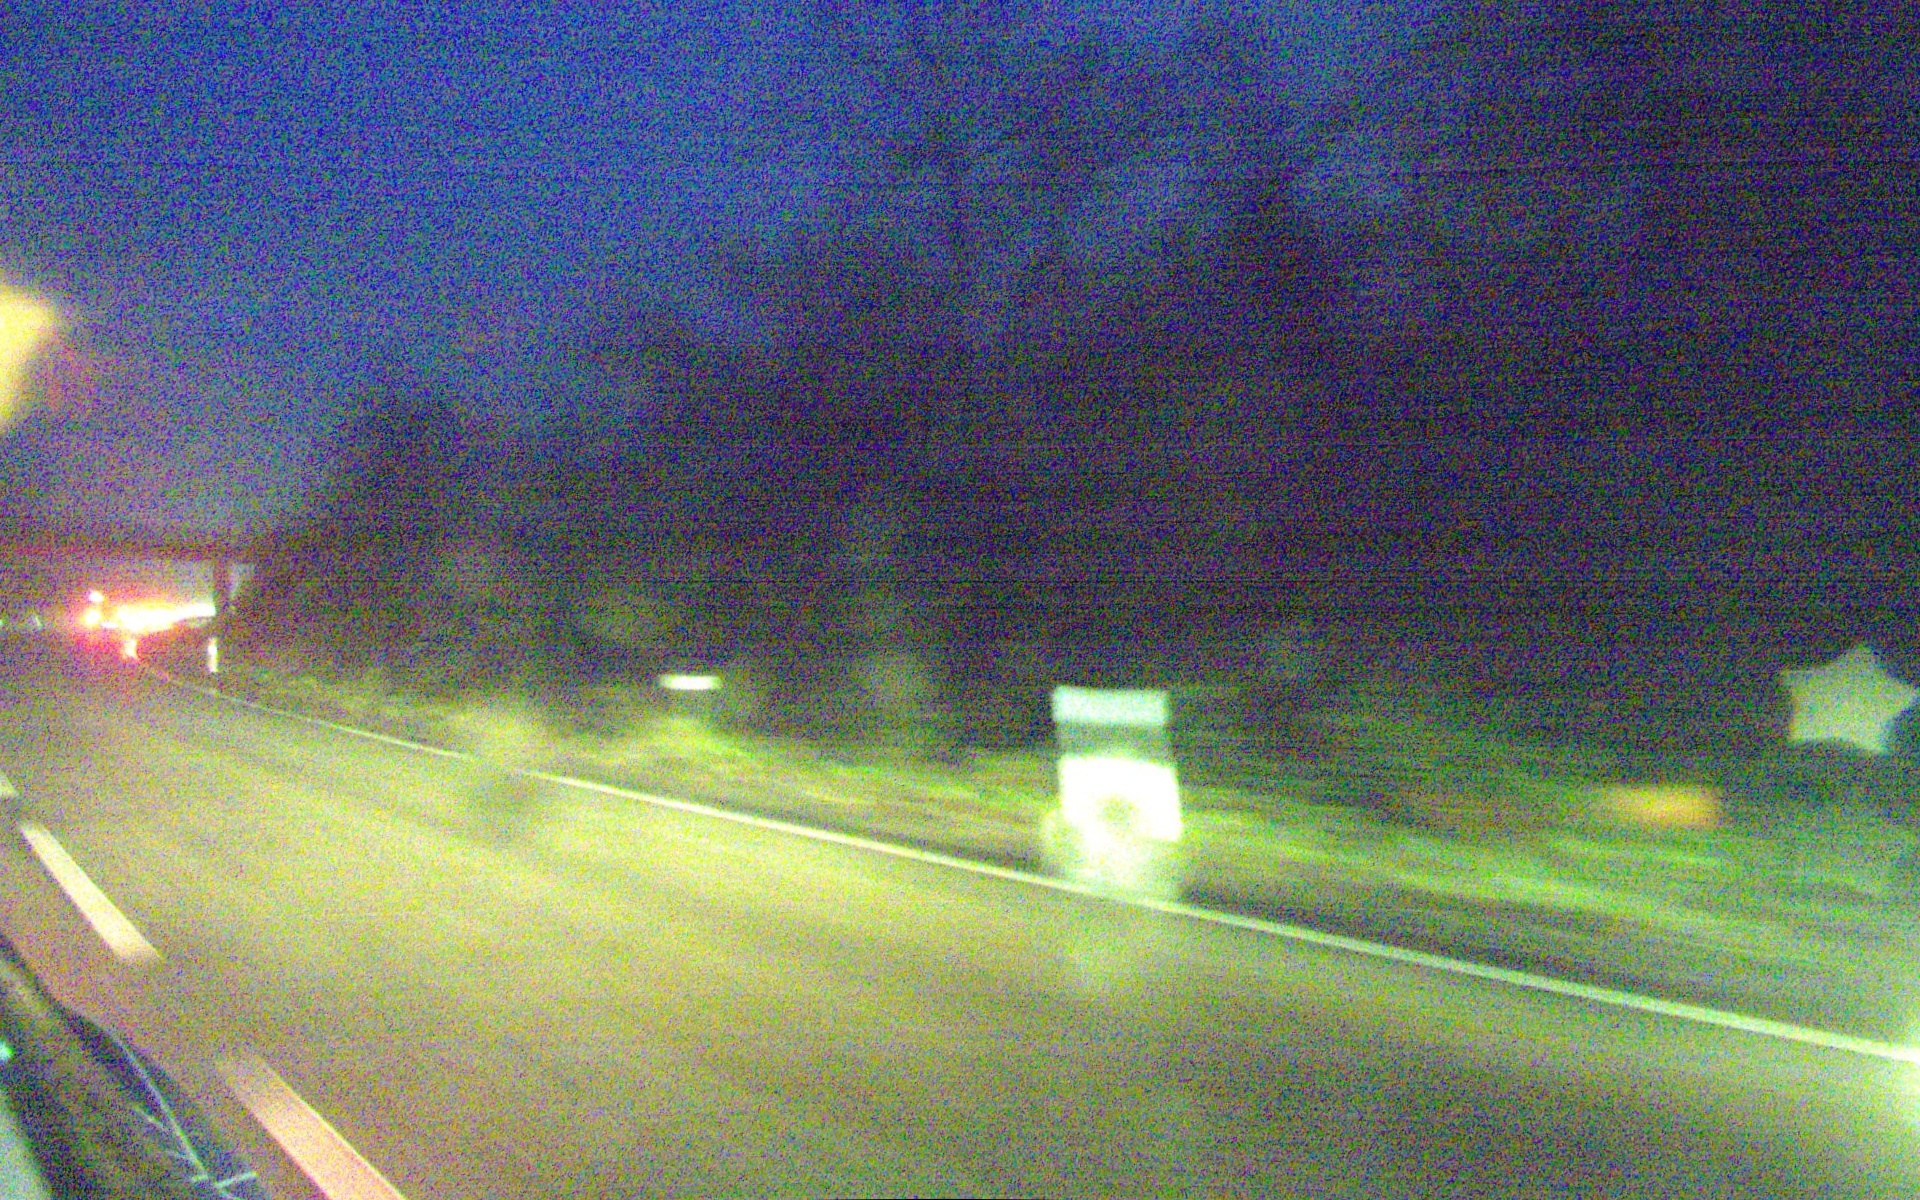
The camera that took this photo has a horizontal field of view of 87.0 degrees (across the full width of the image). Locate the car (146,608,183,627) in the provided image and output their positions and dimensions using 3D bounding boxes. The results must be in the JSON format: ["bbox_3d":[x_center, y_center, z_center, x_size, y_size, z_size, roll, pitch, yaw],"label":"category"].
[{"bbox_3d":[-70.190,1.528,89.373,1.903,1.596,4.999,2,-2,-31],"label":"car"}]

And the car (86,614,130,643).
[{"bbox_3d":[-53.279,1.755,63.343,1.968,1.721,4.993,2,-2,-39],"label":"car"}]
